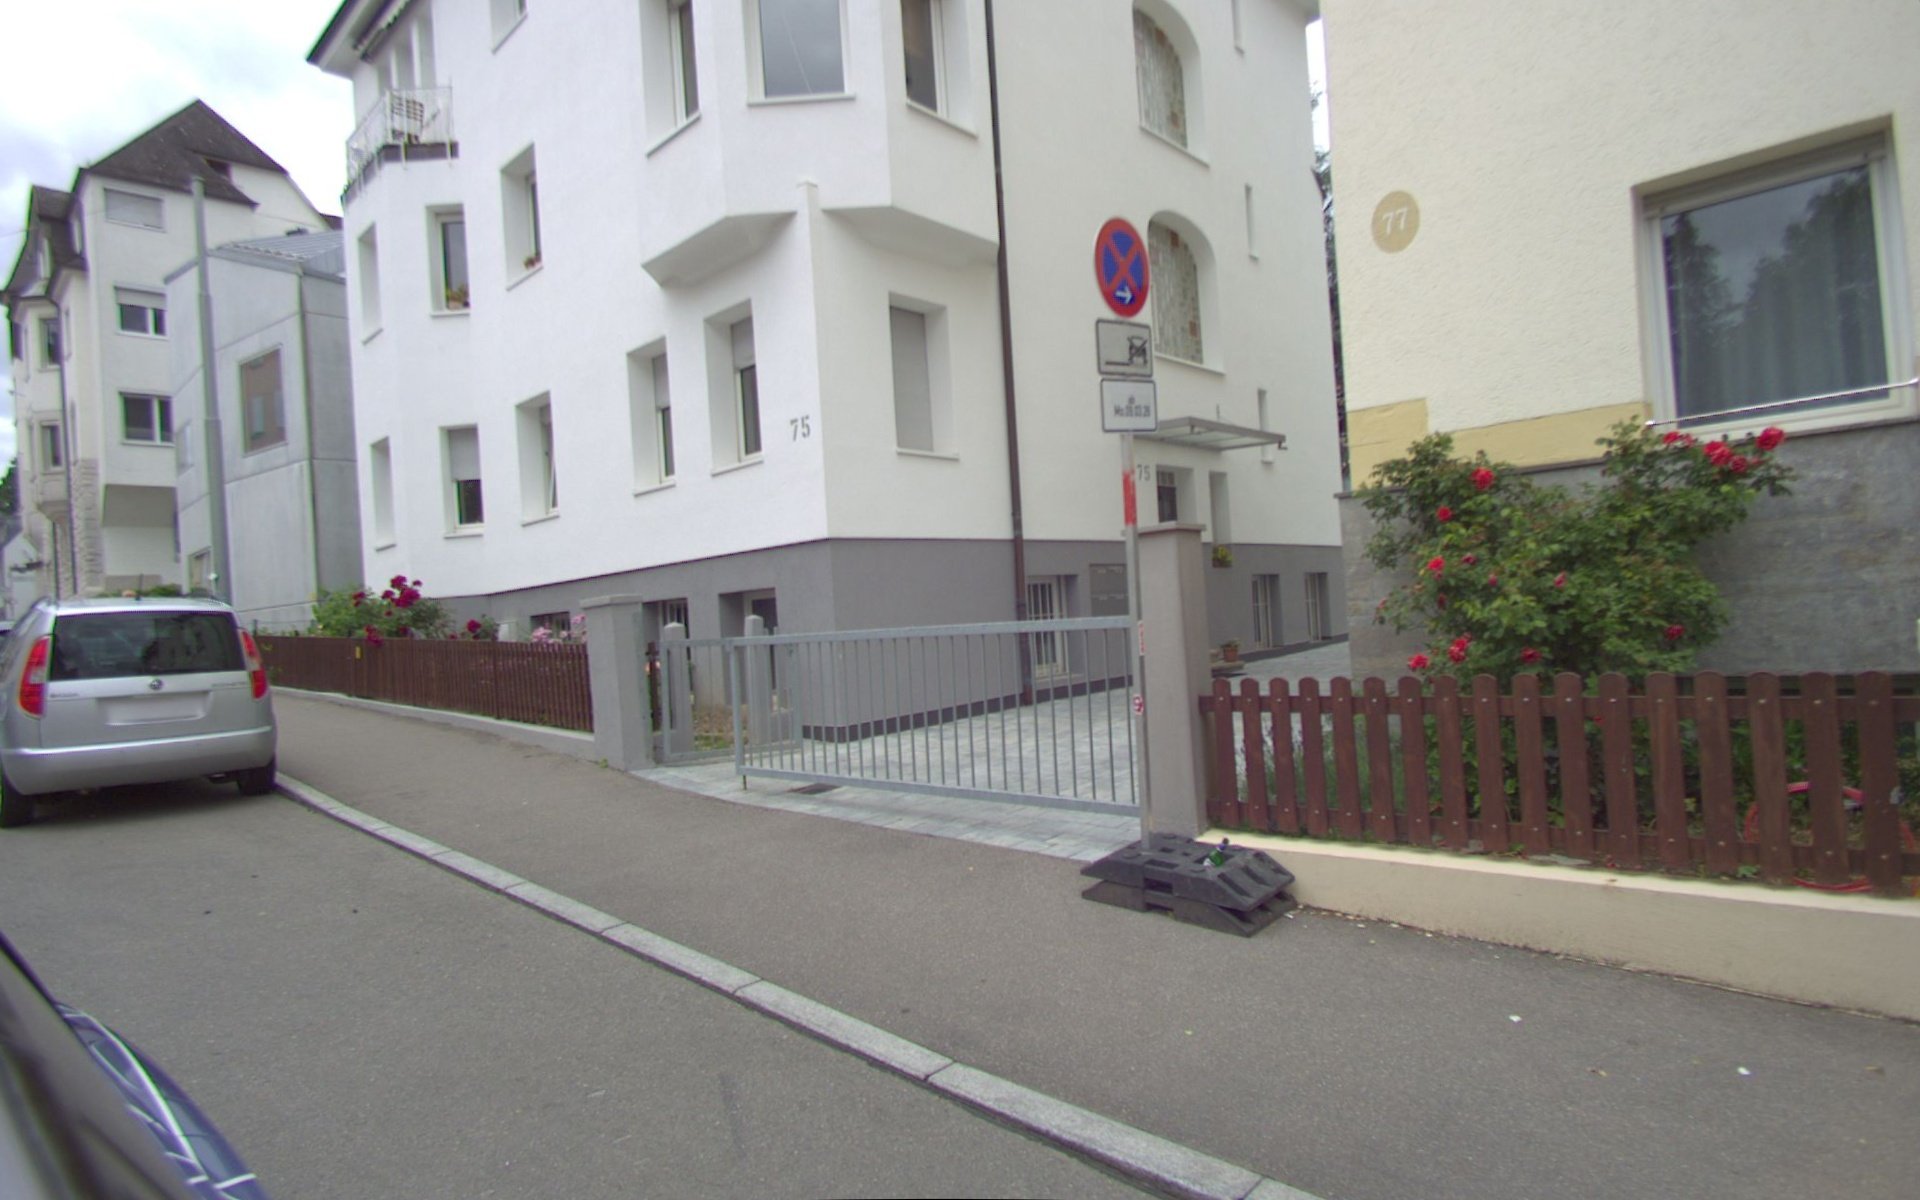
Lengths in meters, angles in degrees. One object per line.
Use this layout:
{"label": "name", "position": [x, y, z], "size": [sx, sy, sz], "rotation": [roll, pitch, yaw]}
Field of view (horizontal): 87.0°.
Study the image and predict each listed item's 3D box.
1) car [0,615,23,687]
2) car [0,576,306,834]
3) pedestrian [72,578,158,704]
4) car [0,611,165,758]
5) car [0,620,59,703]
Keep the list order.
{"label": "car", "position": [-22.774, 1.144, 22.973], "size": [4.471, 1.538, 1.875], "rotation": [-1, 1, 43]}
{"label": "car", "position": [-7.302, 0.727, 8.564], "size": [4.284, 1.643, 1.826], "rotation": [-2, 0, 41]}
{"label": "pedestrian", "position": [-13.323, 0.631, 15.980], "size": [0.805, 1.899, 0.850], "rotation": [-2, 0, -25]}
{"label": "car", "position": [-11.206, 0.907, 12.247], "size": [4.505, 1.468, 1.825], "rotation": [-1, 0, 43]}
{"label": "car", "position": [-18.956, 1.150, 19.556], "size": [5.062, 1.423, 1.825], "rotation": [-1, 1, 43]}
